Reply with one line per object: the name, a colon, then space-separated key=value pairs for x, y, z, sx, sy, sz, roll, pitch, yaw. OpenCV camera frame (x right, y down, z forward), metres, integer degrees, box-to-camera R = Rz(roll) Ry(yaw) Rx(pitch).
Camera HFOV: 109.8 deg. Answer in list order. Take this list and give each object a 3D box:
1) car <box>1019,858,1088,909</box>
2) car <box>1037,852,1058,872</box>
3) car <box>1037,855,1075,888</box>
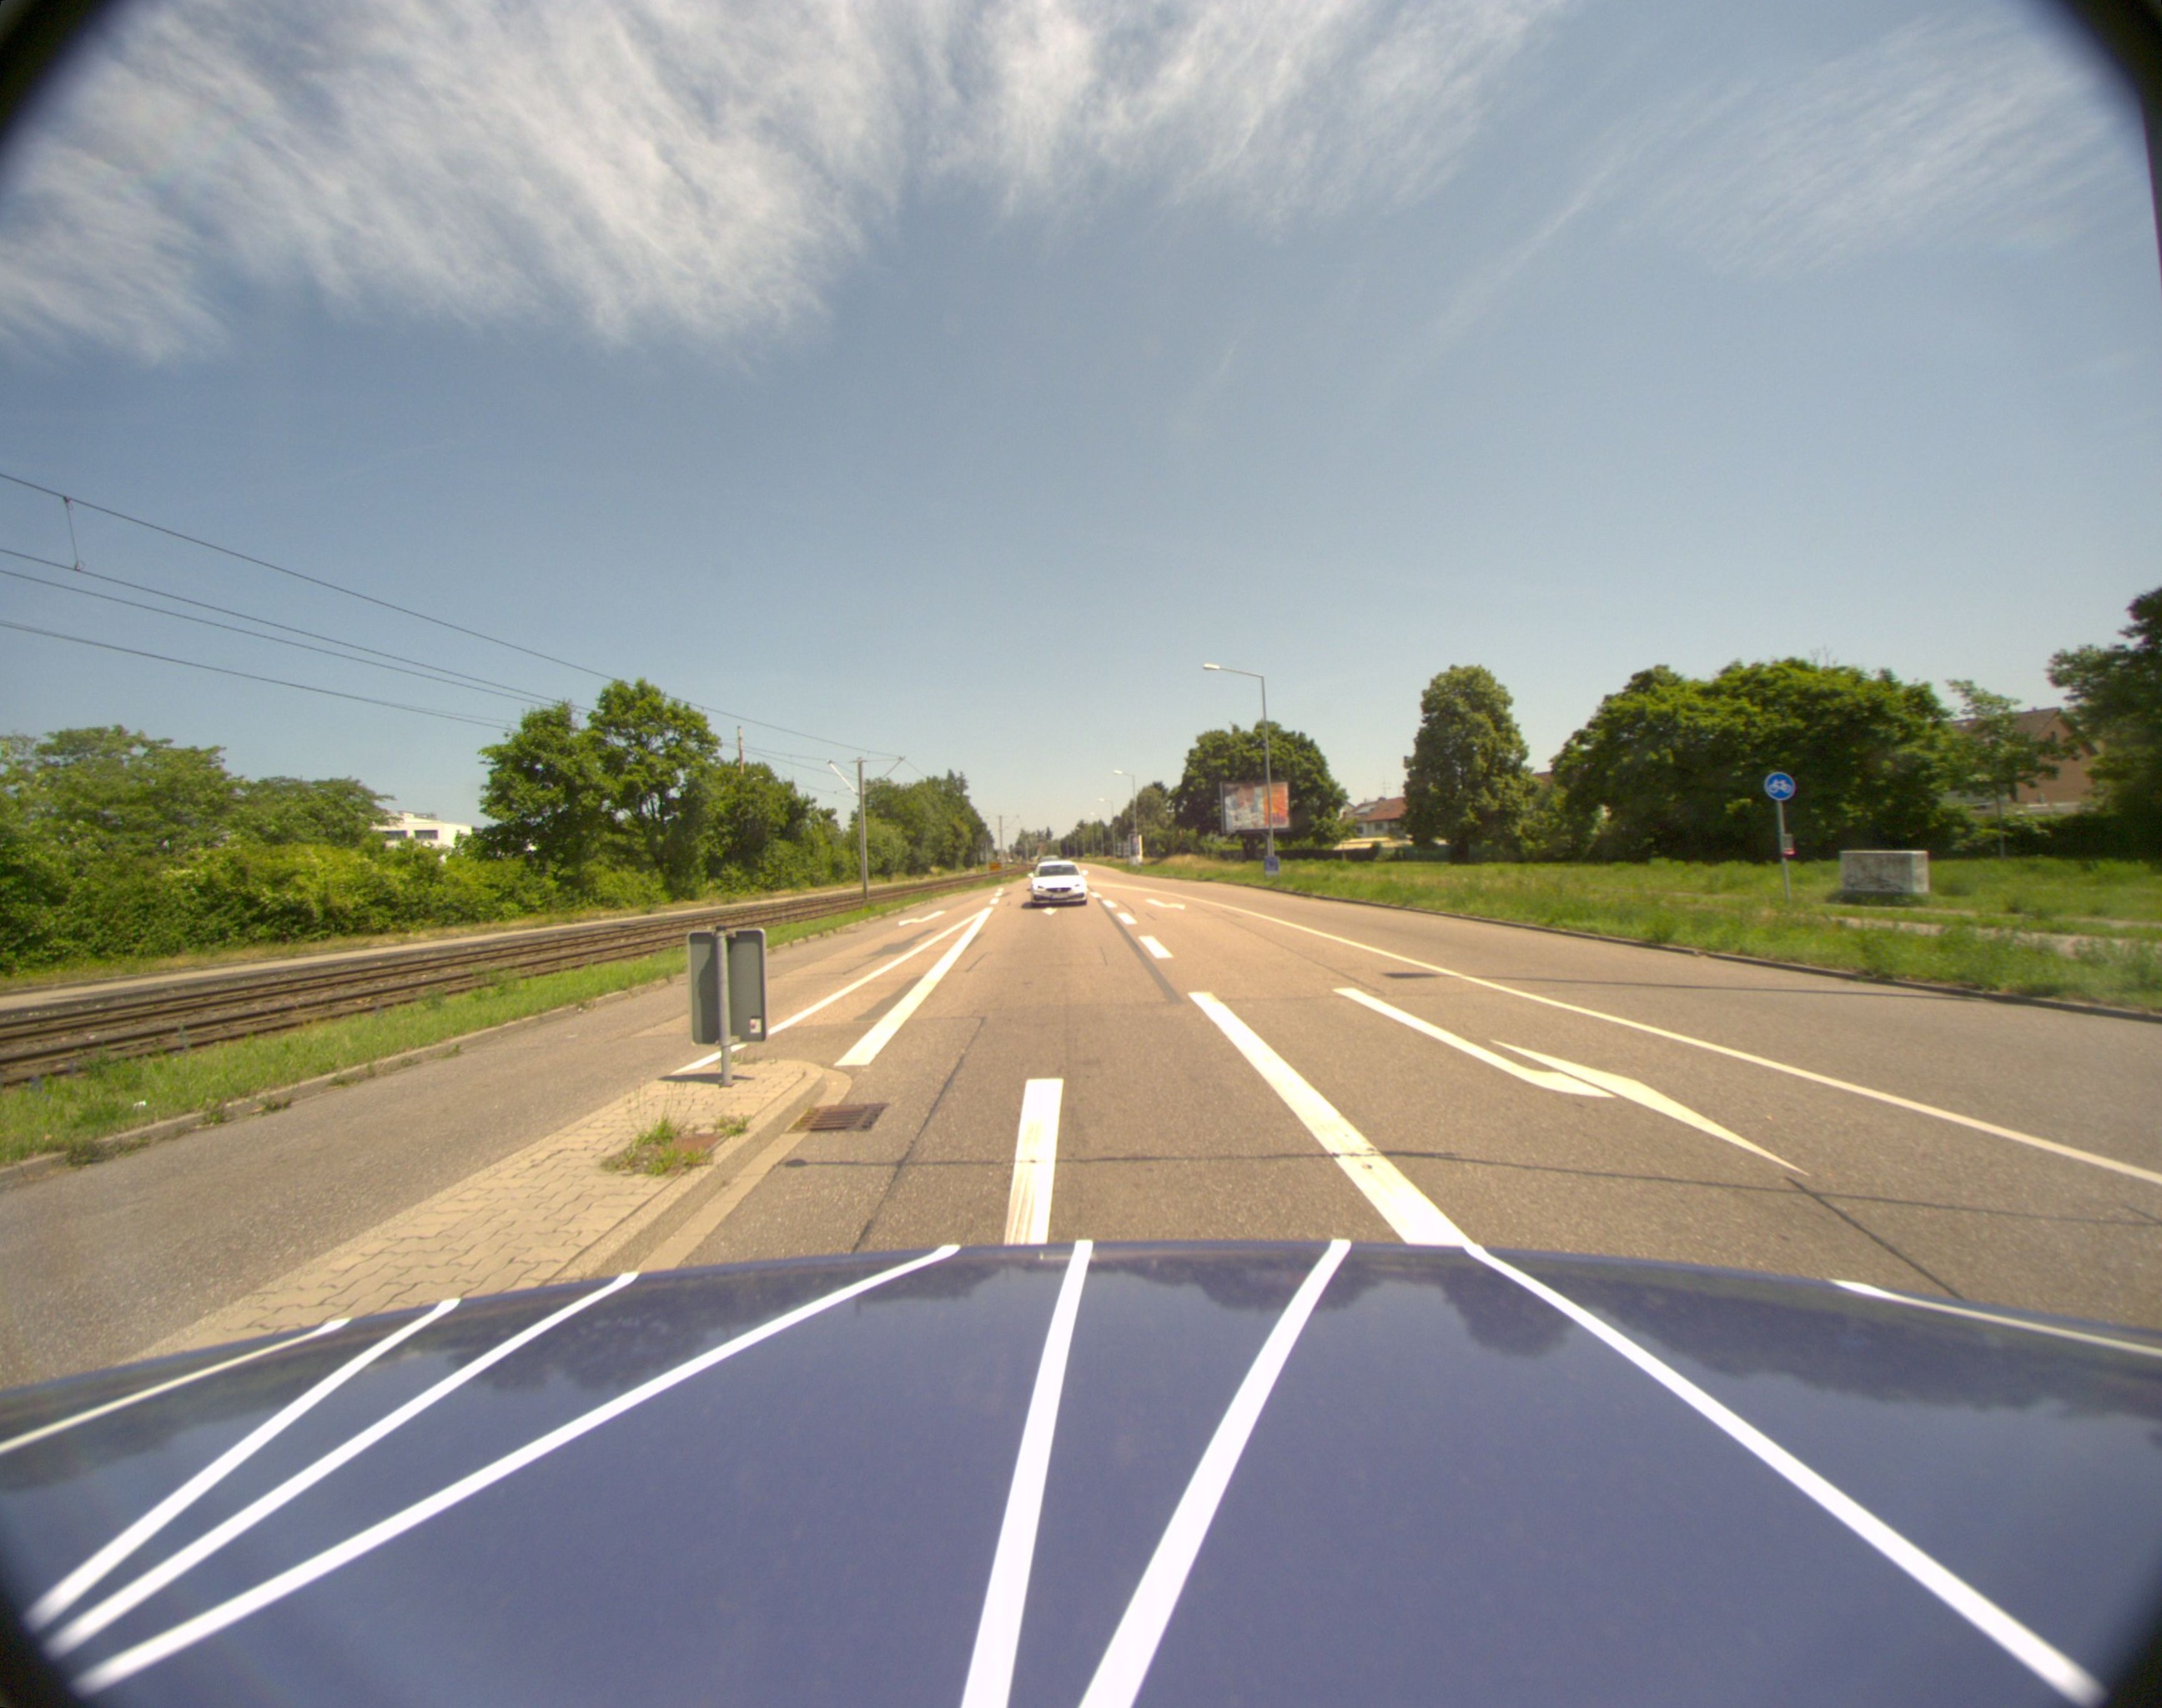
car: x=-0.834 y=0.924 z=25.657 sx=1.954 sy=1.467 sz=4.362 roll=-3 pitch=0 yaw=2
car: x=-3.376 y=0.791 z=76.806 sx=1.780 sy=1.865 sz=4.000 roll=-2 pitch=0 yaw=1
car: x=-1.314 y=0.913 z=40.983 sx=1.780 sy=1.628 sz=4.000 roll=-2 pitch=0 yaw=1
